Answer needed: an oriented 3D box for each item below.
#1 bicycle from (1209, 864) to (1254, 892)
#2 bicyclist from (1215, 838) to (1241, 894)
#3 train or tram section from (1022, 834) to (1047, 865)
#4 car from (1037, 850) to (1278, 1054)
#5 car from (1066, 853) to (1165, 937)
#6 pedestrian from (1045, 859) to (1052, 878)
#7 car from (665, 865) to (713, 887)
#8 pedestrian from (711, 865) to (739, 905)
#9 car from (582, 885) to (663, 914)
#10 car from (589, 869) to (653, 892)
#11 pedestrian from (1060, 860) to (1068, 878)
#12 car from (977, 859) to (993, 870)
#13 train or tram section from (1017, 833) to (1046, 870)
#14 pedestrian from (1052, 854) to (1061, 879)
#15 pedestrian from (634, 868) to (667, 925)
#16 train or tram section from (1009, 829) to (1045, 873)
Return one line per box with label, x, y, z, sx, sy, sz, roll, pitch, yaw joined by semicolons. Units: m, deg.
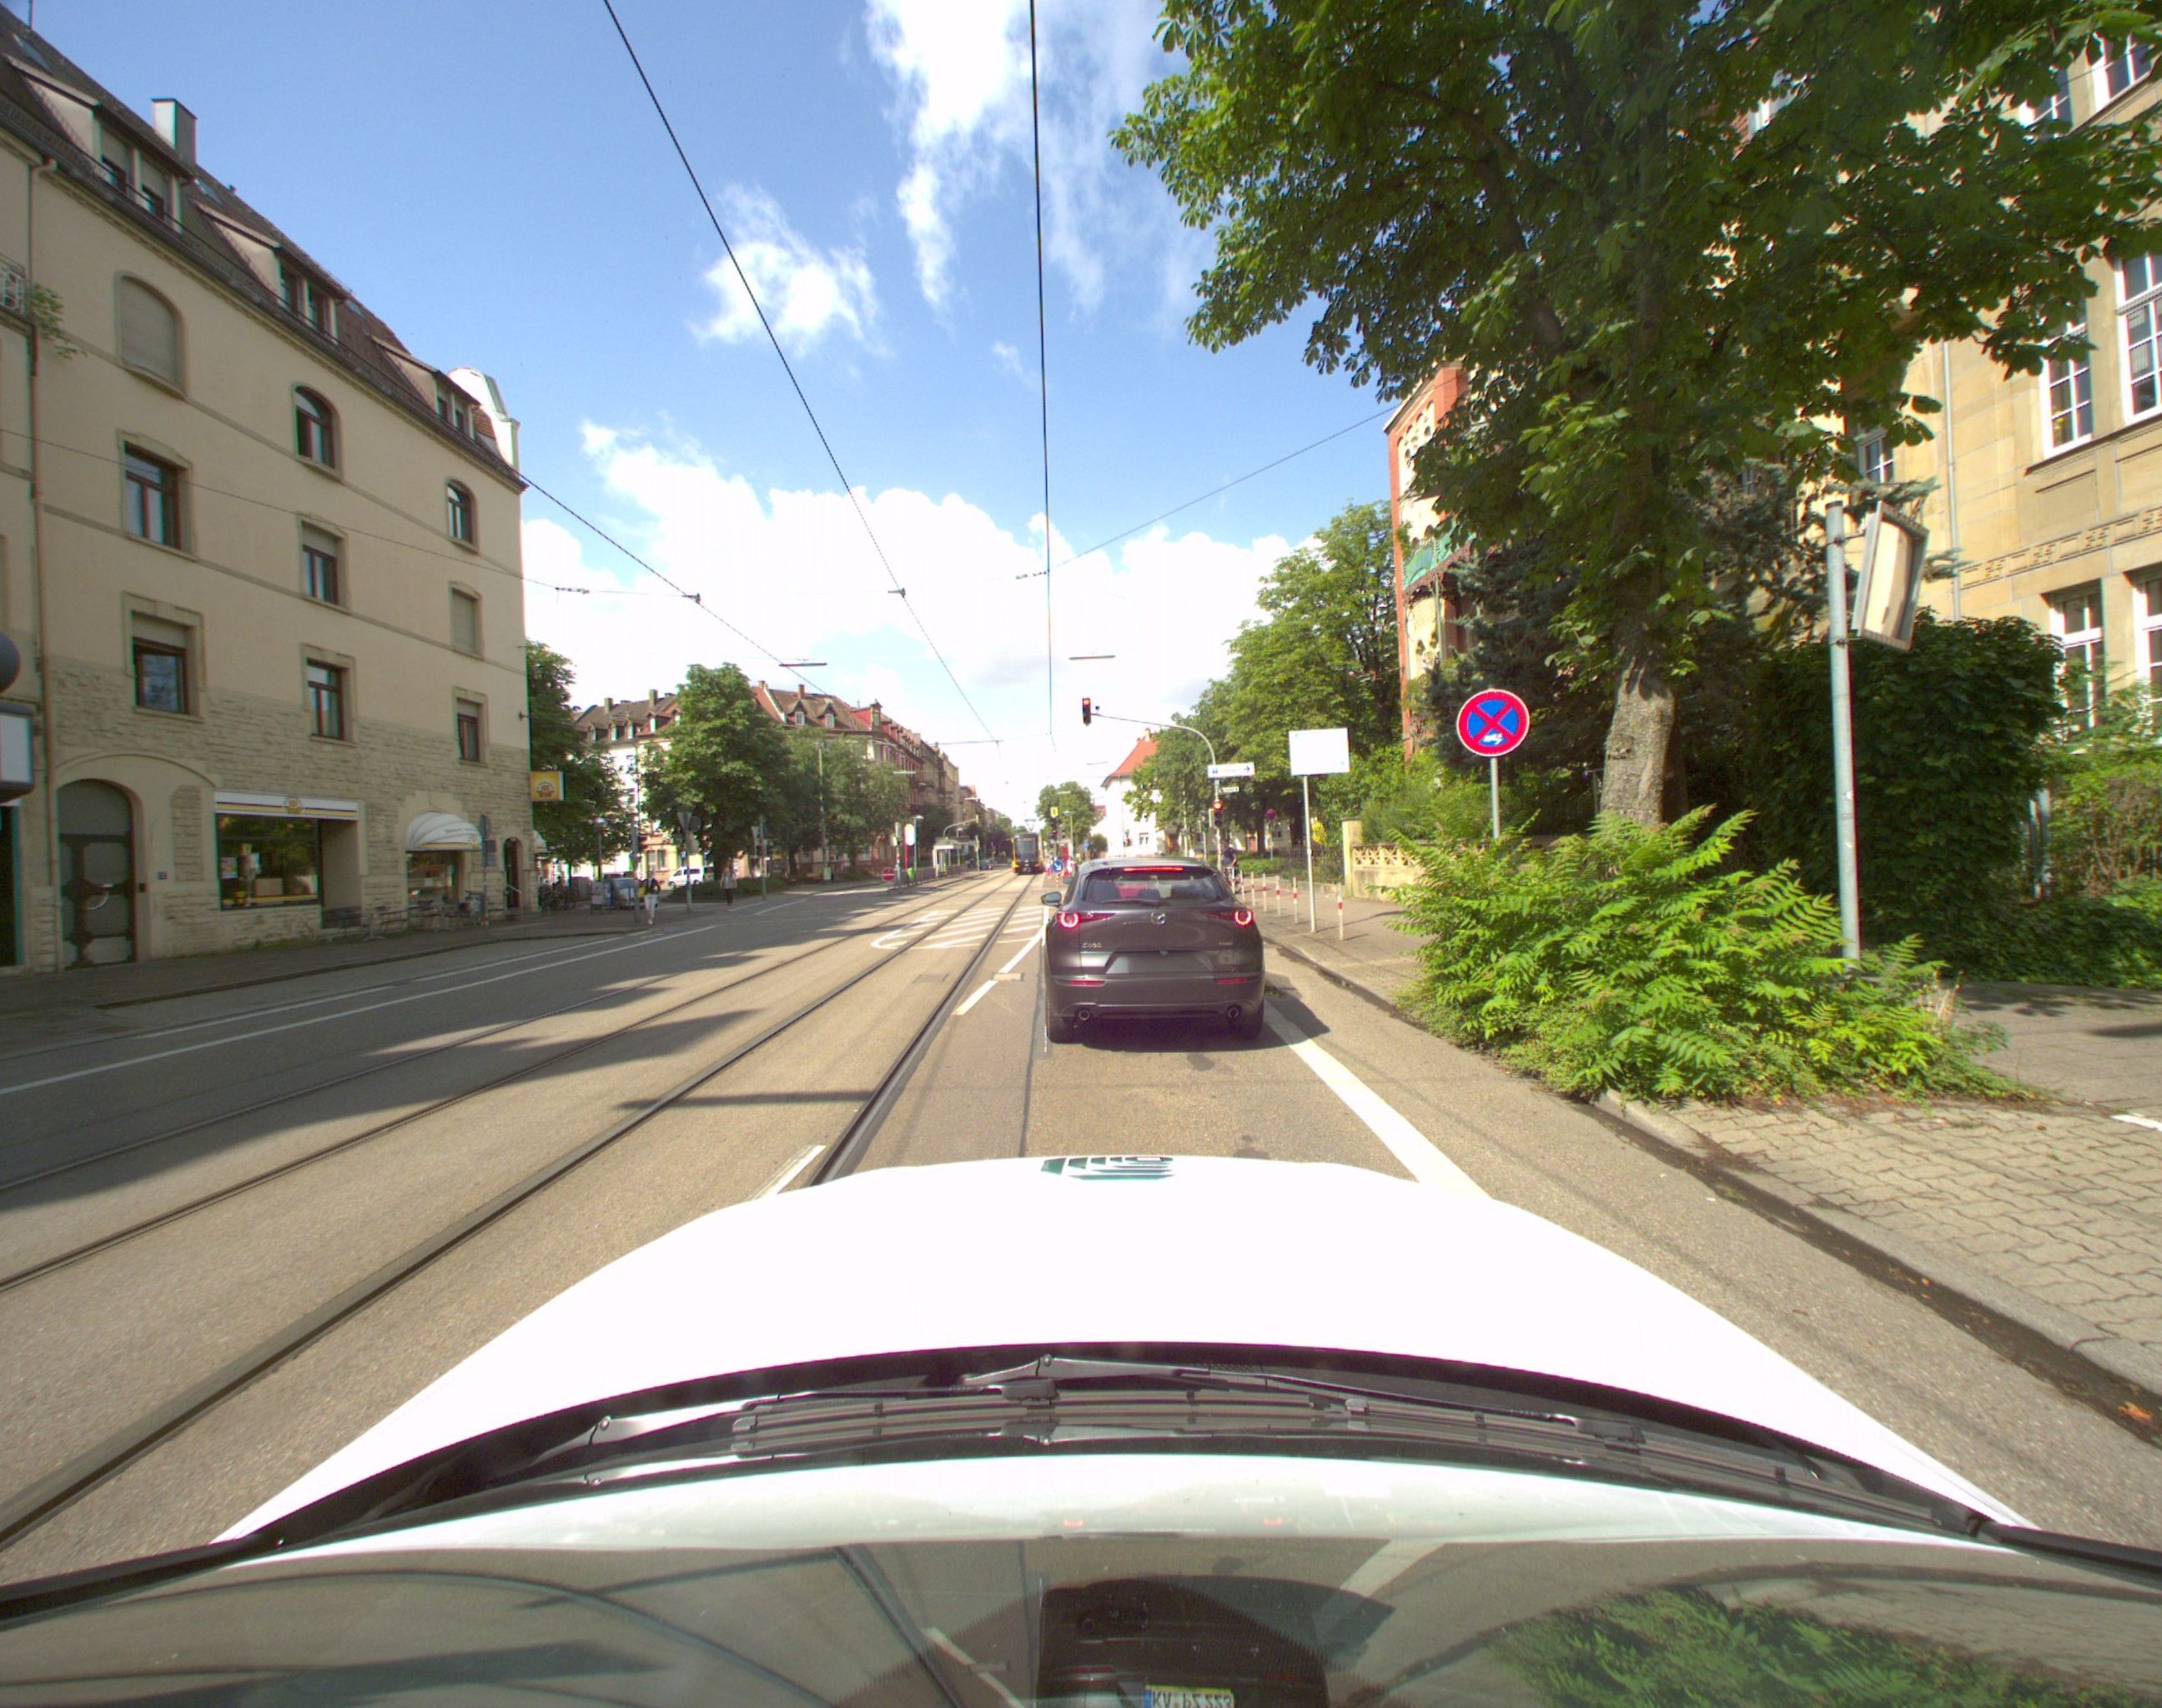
bicycle;5.021;0.799;27.141;1.708;0.824;0.488;-3;0;-40
bicyclist;4.851;0.378;26.854;0.608;1.793;0.656;-2;0;-9
train or tram section;-5.751;-0.588;101.545;2.746;3.490;14.394;-3;1;-3
car;0.606;0.727;8.054;1.772;1.499;4.001;-1;0;1
car;0.654;0.742;16.701;1.772;1.499;4.001;-1;0;1
pedestrian;-1.874;0.821;47.091;0.379;1.071;0.474;-3;0;-3
car;-37.596;2.143;78.079;3.950;1.903;2.012;-3;0;25
pedestrian;-15.784;1.382;36.104;0.817;1.705;0.720;-3;0;6
car;-21.275;2.115;37.719;3.948;1.182;1.689;-3;0;35
car;-37.350;2.137;66.230;3.972;1.596;2.001;-3;0;1
pedestrian;-0.980;0.867;47.185;0.379;0.984;0.474;-3;0;-3
car;-12.106;1.281;102.951;1.610;1.310;3.625;-3;0;-2
train or tram section;-5.159;-0.359;87.176;2.746;3.490;14.394;-3;1;-3
pedestrian;-1.431;0.720;47.060;0.449;1.434;0.474;-3;0;-4
pedestrian;-13.818;1.340;26.137;0.804;1.754;0.678;-2;0;-33
train or tram section;-4.662;-0.346;73.065;2.746;3.490;14.394;-3;1;-3
